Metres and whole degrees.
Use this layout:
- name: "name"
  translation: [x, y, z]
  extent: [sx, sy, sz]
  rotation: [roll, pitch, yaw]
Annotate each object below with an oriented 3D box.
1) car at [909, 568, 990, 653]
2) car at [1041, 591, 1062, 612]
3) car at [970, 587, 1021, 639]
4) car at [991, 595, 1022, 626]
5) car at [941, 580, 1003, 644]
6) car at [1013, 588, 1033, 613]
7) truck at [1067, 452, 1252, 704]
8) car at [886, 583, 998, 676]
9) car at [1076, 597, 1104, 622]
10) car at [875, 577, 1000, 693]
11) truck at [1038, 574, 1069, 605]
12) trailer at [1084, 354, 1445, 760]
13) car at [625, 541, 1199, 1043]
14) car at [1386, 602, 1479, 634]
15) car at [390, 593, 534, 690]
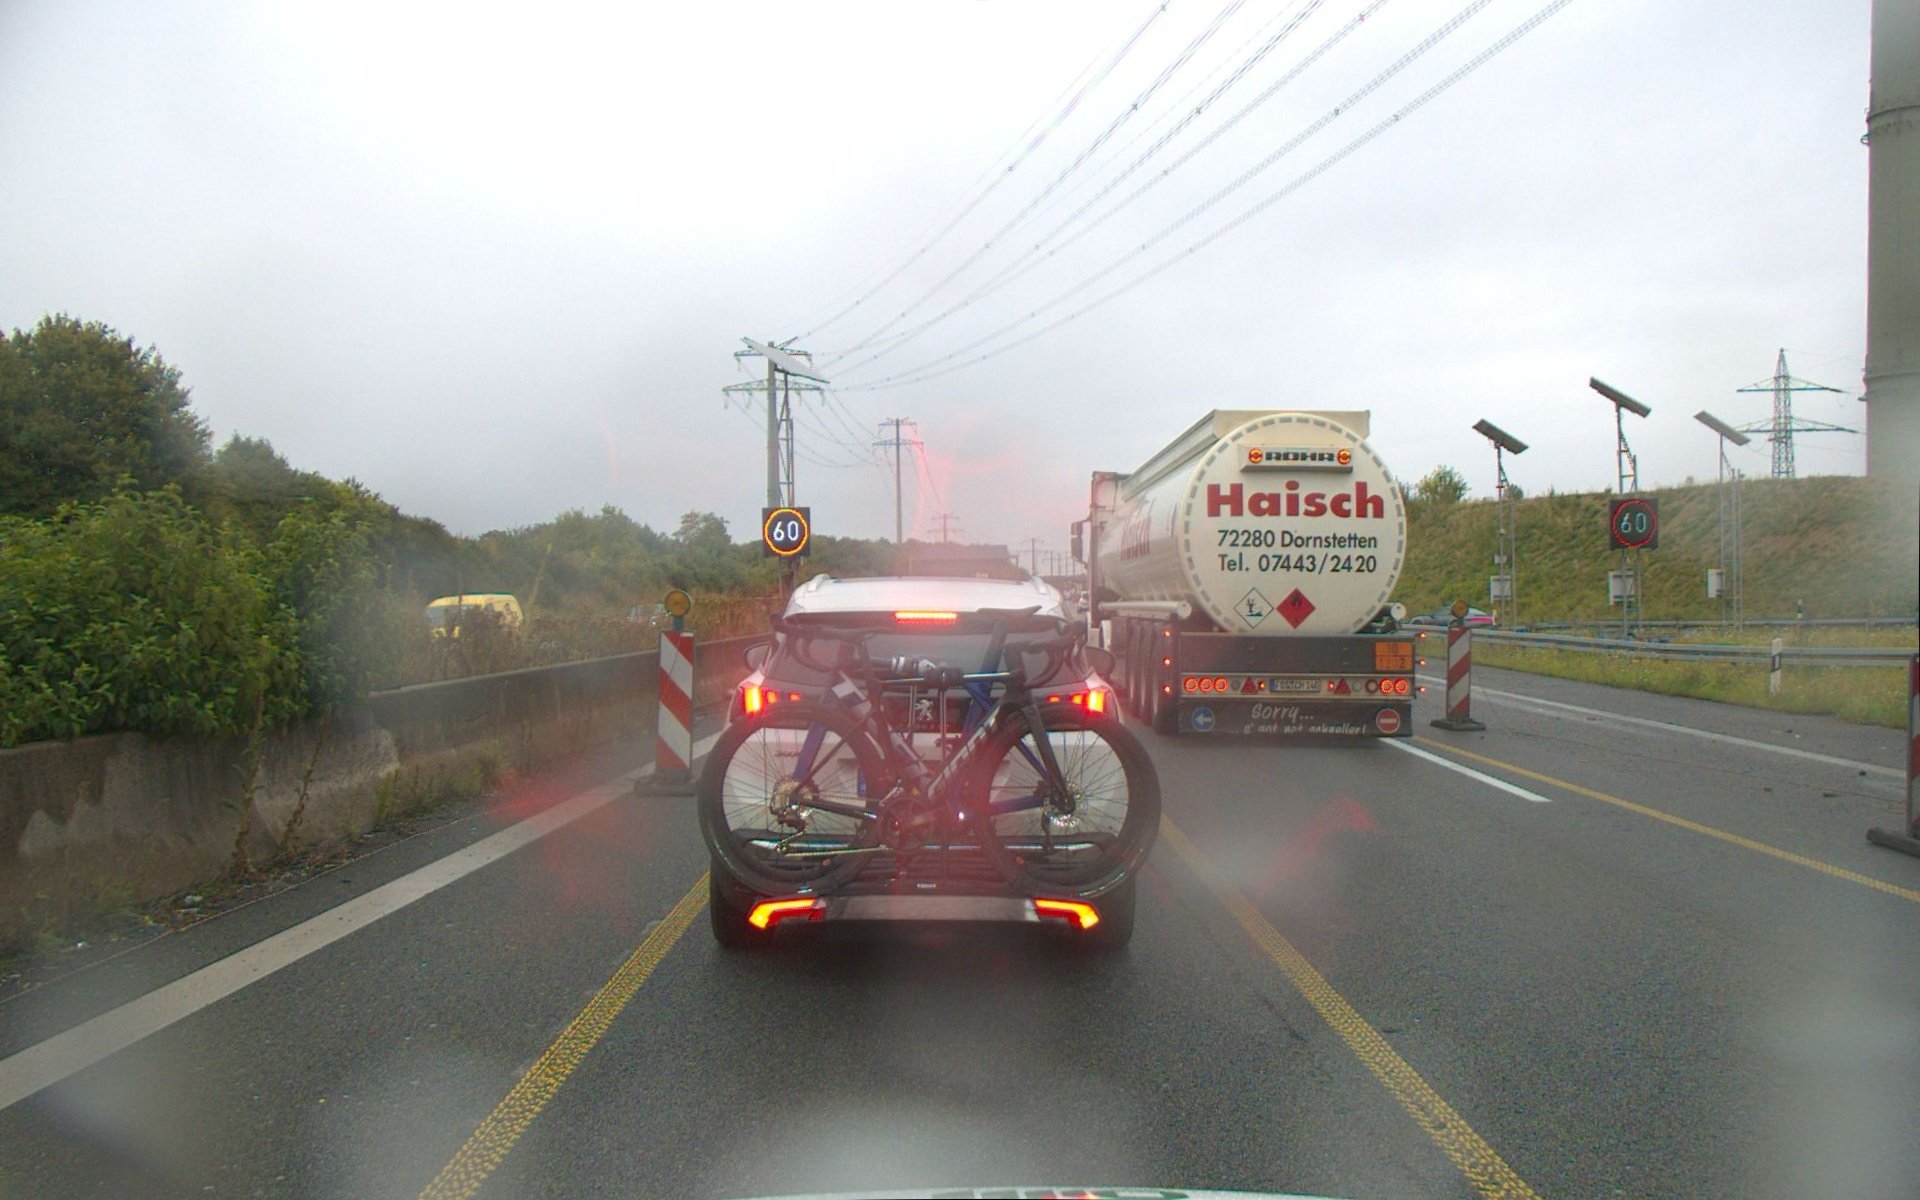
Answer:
- name: "car"
  translation: [-0.296, 0.255, 42.782]
  extent: [1.953, 2.049, 3.999]
  rotation: [-1, 0, -1]
- name: "car"
  translation: [9.572, 0.165, 173.125]
  extent: [1.953, 2.049, 3.999]
  rotation: [1, -1, -1]
- name: "car"
  translation: [1.421, 0.552, 68.304]
  extent: [1.953, 2.049, 3.999]
  rotation: [1, -1, -1]
- name: "car"
  translation: [3.179, 0.740, 114.333]
  extent: [1.953, 2.049, 3.999]
  rotation: [1, -1, -1]
- name: "car"
  translation: [0.370, 0.372, 55.820]
  extent: [1.953, 2.049, 3.999]
  rotation: [-1, 1, -1]
- name: "car"
  translation: [5.437, 0.044, 141.594]
  extent: [1.619, 2.049, 4.002]
  rotation: [0, 0, 3]
- name: "truck"
  translation: [3.308, -0.335, 28.333]
  extent: [2.591, 3.959, 4.029]
  rotation: [1, -1, -1]
- name: "car"
  translation: [-0.336, 0.509, 30.930]
  extent: [1.953, 1.611, 3.999]
  rotation: [0, 0, -1]
- name: "car"
  translation: [11.057, 0.813, 140.692]
  extent: [1.953, 2.049, 3.999]
  rotation: [-1, 0, -1]
- name: "car"
  translation: [-0.329, 0.538, 28.173]
  extent: [1.952, 1.791, 4.000]
  rotation: [-1, 0, 1]
- name: "truck"
  translation: [12.432, -1.337, 220.135]
  extent: [3.654, 3.889, 11.869]
  rotation: [0, 0, 1]
- name: "trailer"
  translation: [3.404, -0.383, 21.590]
  extent: [2.584, 3.961, 10.541]
  rotation: [1, 0, -1]
- name: "car"
  translation: [-0.101, 0.625, 7.767]
  extent: [1.888, 1.639, 4.596]
  rotation: [0, 0, 1]
- name: "car"
  translation: [18.828, 0.699, 66.081]
  extent: [1.462, 1.181, 3.879]
  rotation: [-1, 0, -23]
- name: "car"
  translation: [-11.746, 0.914, 39.369]
  extent: [1.953, 2.083, 4.778]
  rotation: [-1, 1, 0]
